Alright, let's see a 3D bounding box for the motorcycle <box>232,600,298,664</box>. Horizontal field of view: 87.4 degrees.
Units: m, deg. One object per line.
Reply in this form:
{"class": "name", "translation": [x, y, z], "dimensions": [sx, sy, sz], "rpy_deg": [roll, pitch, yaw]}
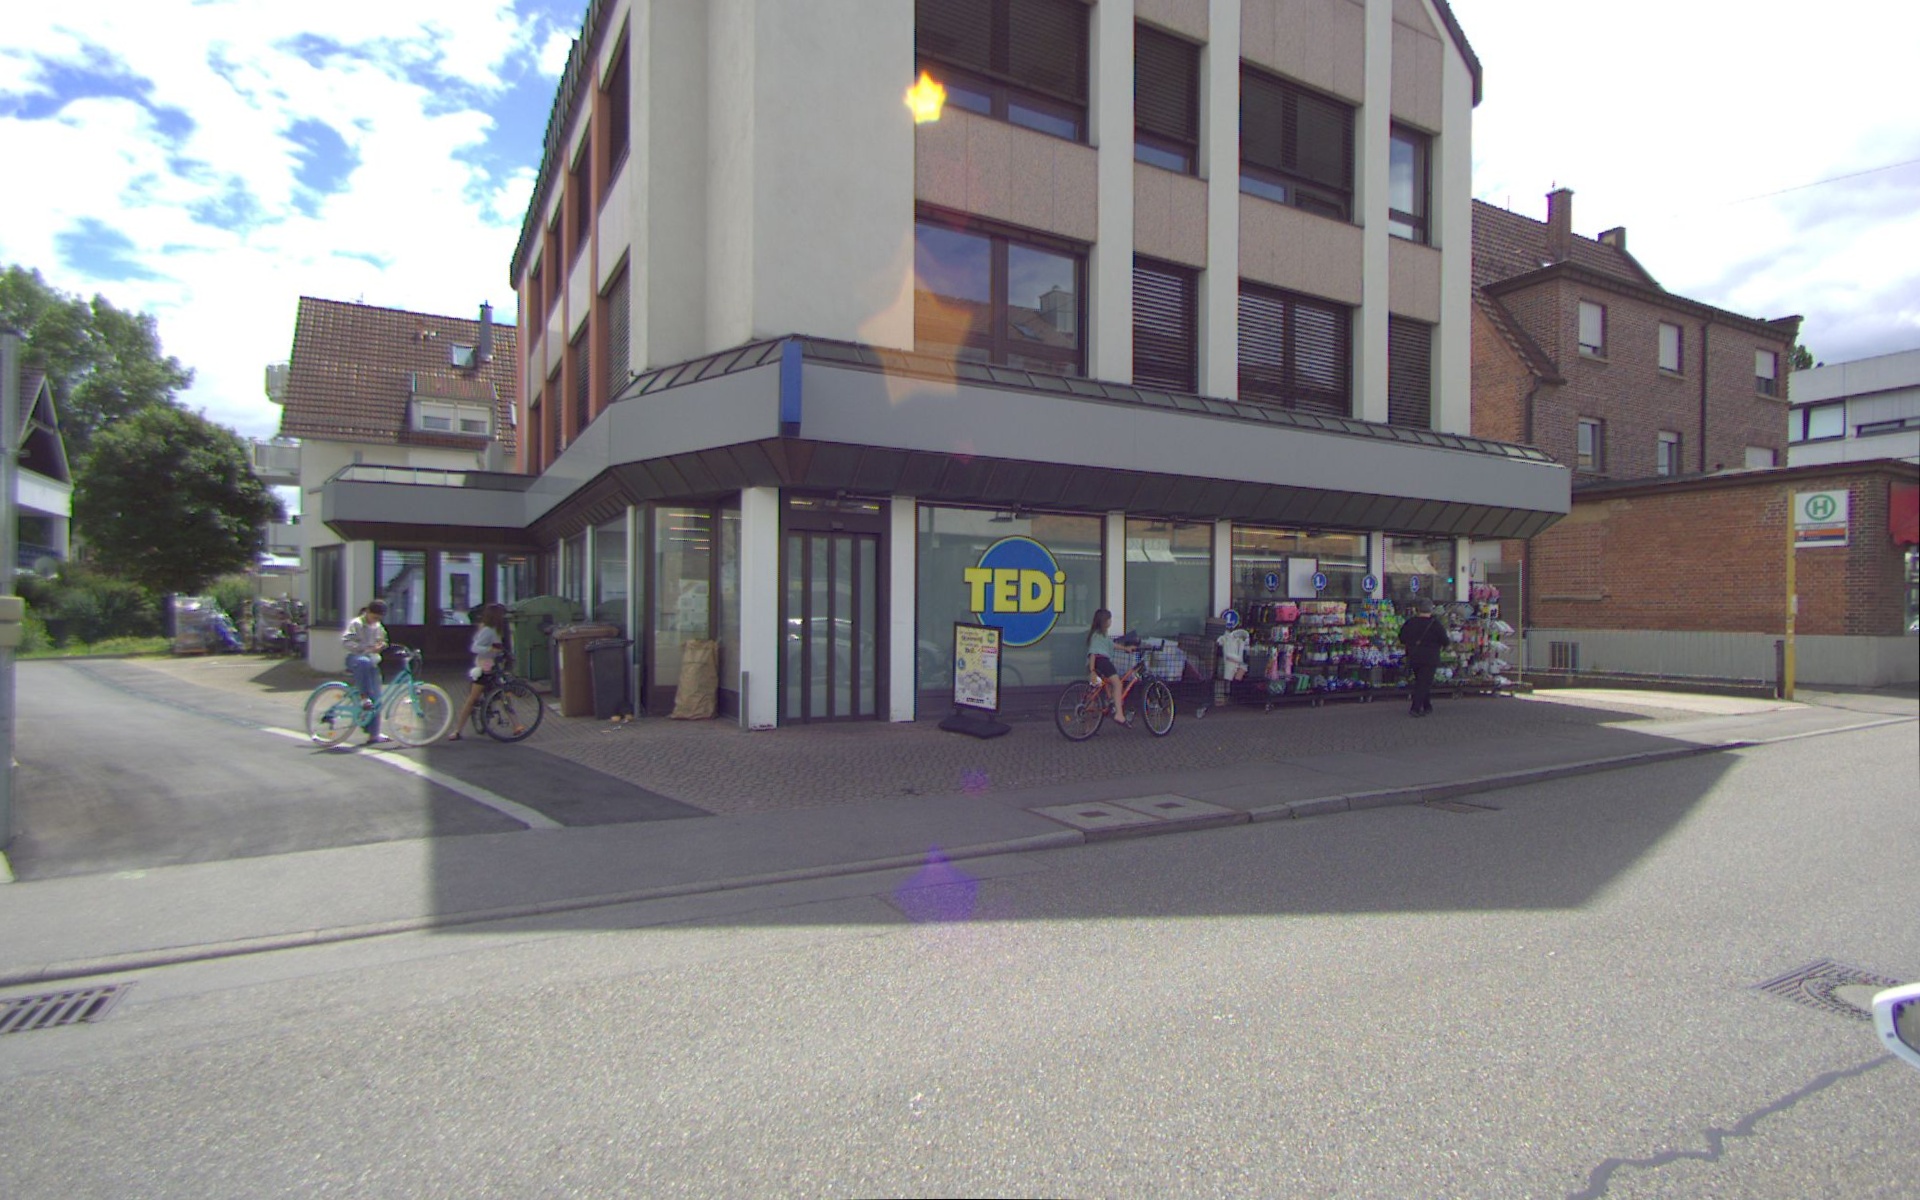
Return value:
{"class": "motorcycle", "translation": [-17.787, 0.786, 25.781], "dimensions": [0.849, 1.539, 3.595], "rpy_deg": [1, -1, -26]}

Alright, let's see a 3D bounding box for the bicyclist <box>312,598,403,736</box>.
{"class": "bicyclist", "translation": [-5.740, 0.623, 9.593], "dimensions": [0.418, 1.258, 0.642], "rpy_deg": [2, 0, 3]}

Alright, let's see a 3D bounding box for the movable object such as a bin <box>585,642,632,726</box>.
{"class": "movable object such as a bin", "translation": [-4.120, 0.971, 11.779], "dimensions": [0.438, 0.923, 0.405], "rpy_deg": [-2, 1, -30]}

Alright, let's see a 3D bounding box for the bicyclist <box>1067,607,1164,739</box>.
{"class": "bicyclist", "translation": [1.698, 0.773, 11.027], "dimensions": [0.753, 1.355, 0.664], "rpy_deg": [0, 4, -30]}

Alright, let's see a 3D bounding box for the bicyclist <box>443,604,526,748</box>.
{"class": "bicyclist", "translation": [-4.767, 0.736, 10.077], "dimensions": [0.417, 1.384, 0.587], "rpy_deg": [0, 1, 31]}

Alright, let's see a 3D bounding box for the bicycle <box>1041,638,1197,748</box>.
{"class": "bicycle", "translation": [1.741, 0.975, 10.909], "dimensions": [1.714, 1.064, 0.441], "rpy_deg": [1, 6, -31]}

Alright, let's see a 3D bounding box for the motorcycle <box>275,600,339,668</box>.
{"class": "motorcycle", "translation": [-15.920, 0.791, 24.569], "dimensions": [0.849, 1.539, 3.778], "rpy_deg": [1, -1, -26]}

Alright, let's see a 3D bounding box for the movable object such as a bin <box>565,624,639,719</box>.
{"class": "movable object such as a bin", "translation": [-4.412, 0.860, 12.367], "dimensions": [0.729, 1.080, 0.680], "rpy_deg": [-2, 1, -30]}

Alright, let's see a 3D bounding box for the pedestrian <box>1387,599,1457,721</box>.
{"class": "pedestrian", "translation": [6.248, 0.797, 13.603], "dimensions": [0.757, 1.579, 0.574], "rpy_deg": [2, 0, 20]}

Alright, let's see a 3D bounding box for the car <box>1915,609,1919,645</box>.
{"class": "car", "translation": [37.723, 0.985, 36.263], "dimensions": [4.274, 1.355, 1.998], "rpy_deg": [-1, -1, 25]}

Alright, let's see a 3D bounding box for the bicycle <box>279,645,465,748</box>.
{"class": "bicycle", "translation": [-5.631, 0.907, 9.641], "dimensions": [1.557, 0.929, 0.459], "rpy_deg": [0, 0, 6]}

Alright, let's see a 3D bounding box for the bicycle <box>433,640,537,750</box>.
{"class": "bicycle", "translation": [-4.875, 0.923, 10.255], "dimensions": [0.550, 0.967, 1.671], "rpy_deg": [0, 0, -40]}
